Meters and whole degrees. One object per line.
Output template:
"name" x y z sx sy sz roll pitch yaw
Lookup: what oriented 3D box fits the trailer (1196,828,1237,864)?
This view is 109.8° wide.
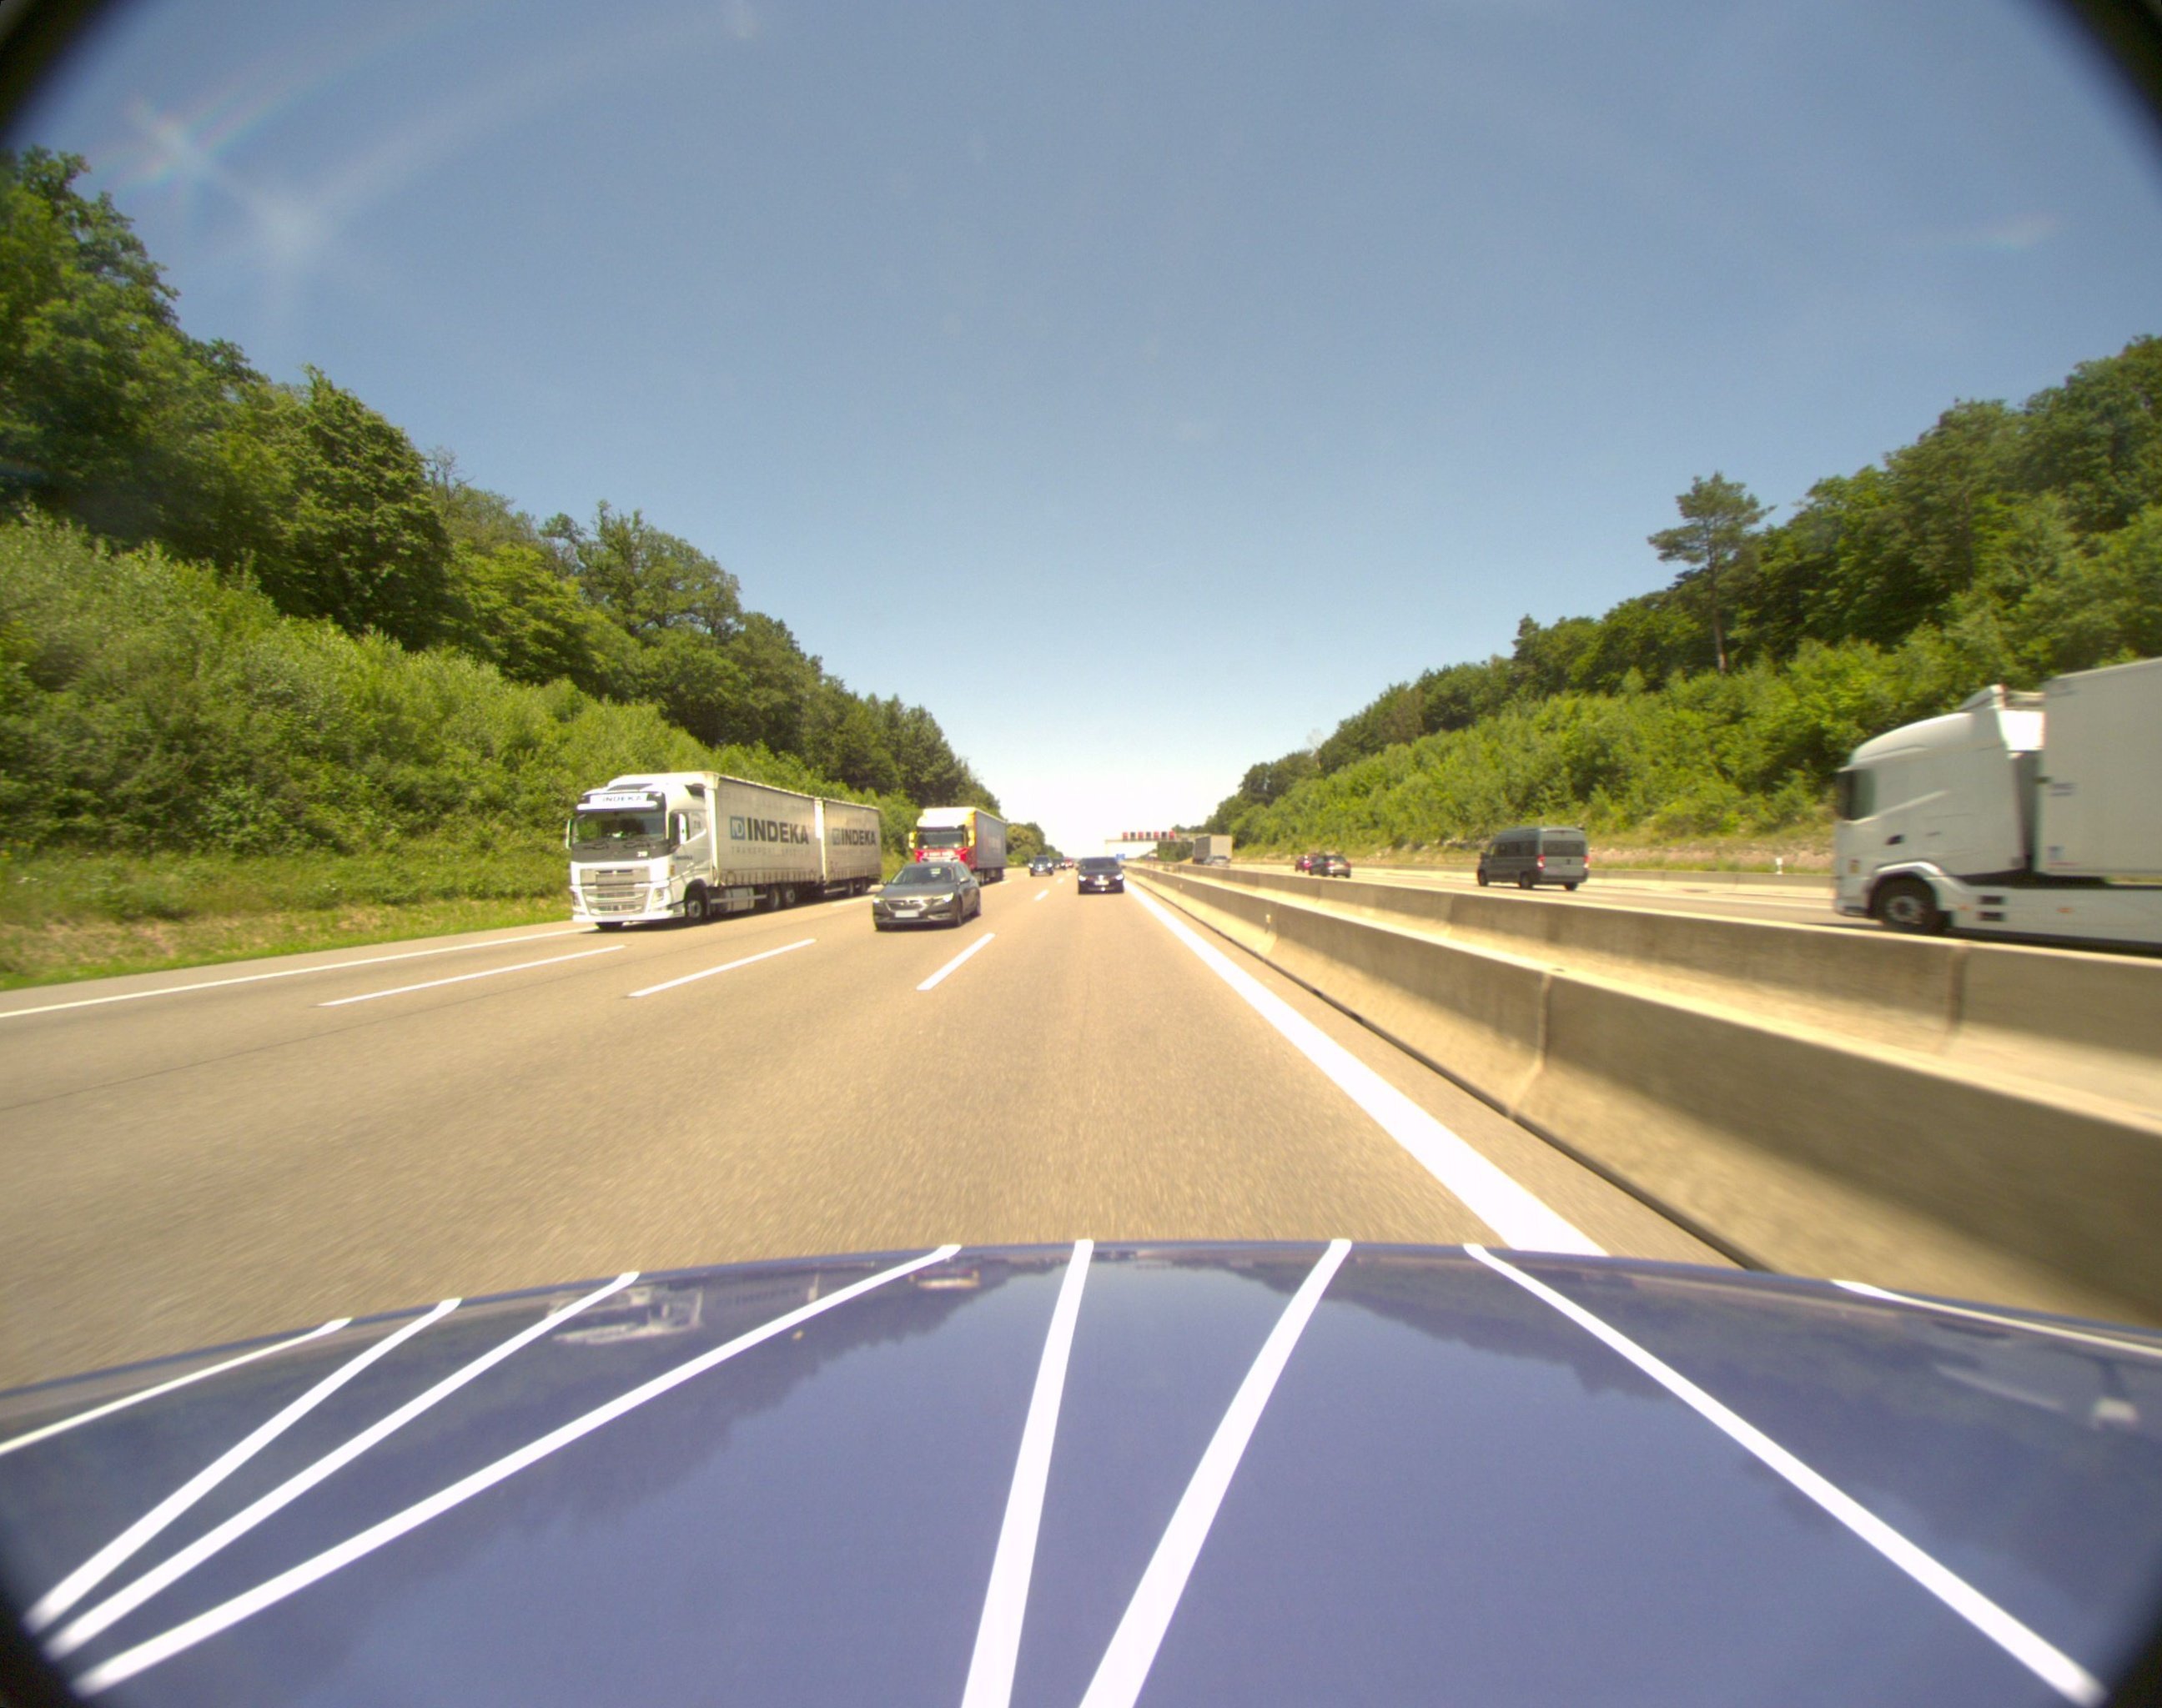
"trailer" 17.141 -0.995 97.144 3.108 4.229 13.841 0 0 1

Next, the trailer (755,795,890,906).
"trailer" -10.755 -0.161 32.673 2.585 4.046 8.383 -2 0 1

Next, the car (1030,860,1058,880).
"car" -2.971 1.289 62.193 1.910 1.504 4.160 -2 0 2

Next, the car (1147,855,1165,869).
"car" 9.732 0.987 99.031 1.875 1.767 4.468 -1 0 1

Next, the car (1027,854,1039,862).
"car" -9.325 0.691 148.123 1.910 1.504 4.159 -1 0 0

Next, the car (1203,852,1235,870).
"car" 12.317 0.573 68.159 2.032 1.497 5.442 -1 0 2

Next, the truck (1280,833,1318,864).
"truck" 29.399 -0.735 102.592 3.273 3.959 6.797 -1 0 1

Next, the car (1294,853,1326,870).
"car" 20.832 0.631 69.260 1.875 1.492 3.720 -1 0 1

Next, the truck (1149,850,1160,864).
"truck" 23.271 0.976 241.329 2.666 4.204 8.413 -1 0 1

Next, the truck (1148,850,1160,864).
"truck" 23.286 0.979 242.079 2.919 4.204 9.863 -1 0 1

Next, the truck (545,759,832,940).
"truck" -10.998 -0.140 23.294 2.728 4.136 10.969 -2 0 1

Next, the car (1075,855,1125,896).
"car" 0.744 0.815 30.112 1.777 1.425 4.144 -2 -1 1

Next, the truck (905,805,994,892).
"truck" -6.511 -0.252 38.862 3.018 3.958 7.540 -2 0 1

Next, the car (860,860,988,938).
"car" -3.554 0.953 18.281 1.972 1.444 5.223 -2 1 0

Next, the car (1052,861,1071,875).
"car" -2.218 1.592 88.810 1.910 1.504 4.160 -2 0 2

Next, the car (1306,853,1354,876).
"car" 15.808 0.624 48.445 1.671 1.399 4.440 -1 0 1

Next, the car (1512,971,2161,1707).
"car" 2.328 1.095 0.683 1.743 1.374 3.871 -1 0 1

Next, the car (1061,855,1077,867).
"car" -1.702 0.956 108.859 1.910 1.504 4.160 -2 0 2

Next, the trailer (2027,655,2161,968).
"trailer" 15.443 -0.484 4.245 2.933 4.060 13.837 1 0 0

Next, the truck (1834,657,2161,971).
"truck" 15.402 -0.516 10.167 2.902 4.045 7.788 0 1 1

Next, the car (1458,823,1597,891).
"car" 19.299 0.105 33.343 2.146 2.648 6.779 1 0 1

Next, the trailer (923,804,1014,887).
"trailer" -6.306 -0.417 45.558 2.926 4.118 14.849 -1 0 1
